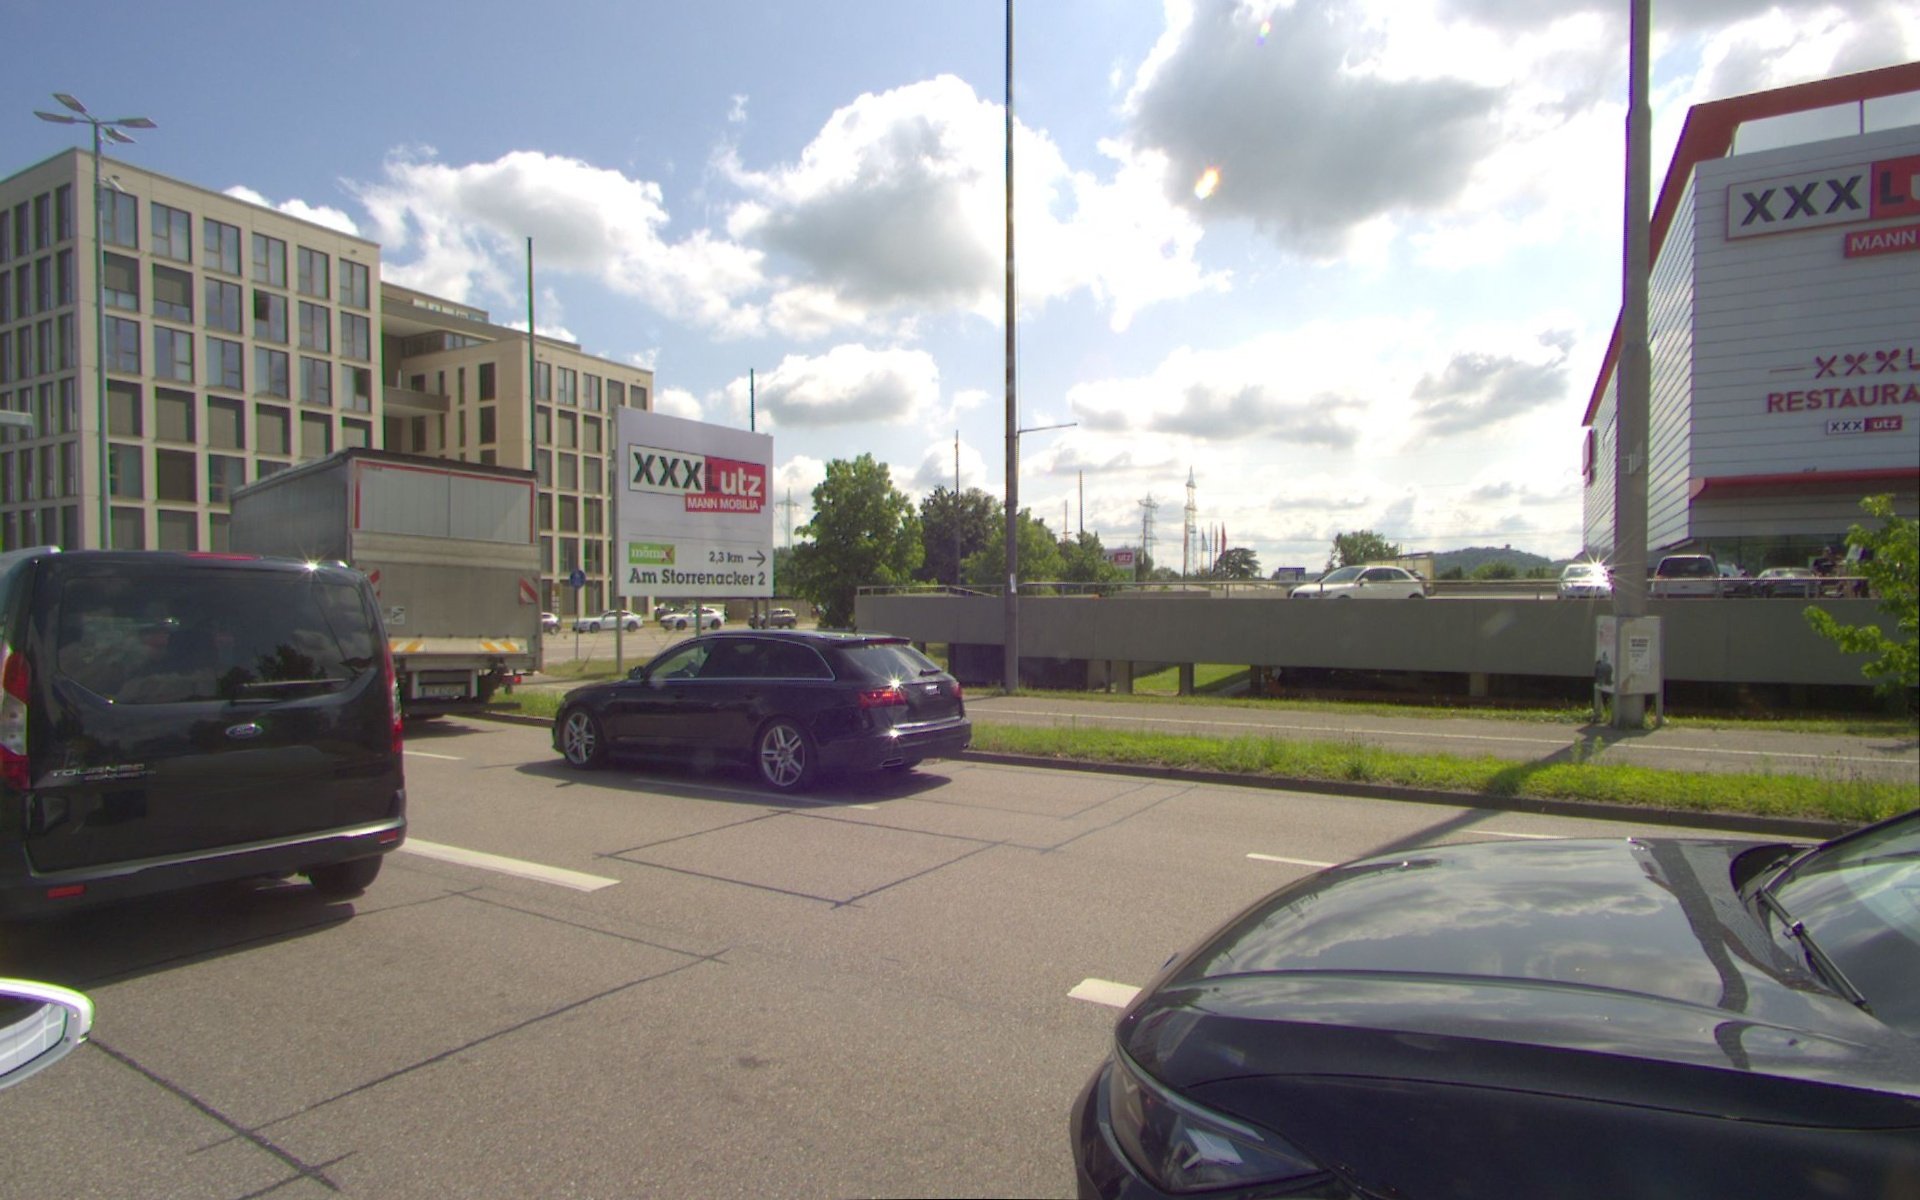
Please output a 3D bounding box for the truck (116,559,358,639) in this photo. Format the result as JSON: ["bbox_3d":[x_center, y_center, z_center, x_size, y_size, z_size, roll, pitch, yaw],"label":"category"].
[{"bbox_3d":[-35.627,0.147,50.009,2.632,3.600,9.755,-1,-2,25],"label":"truck"}]

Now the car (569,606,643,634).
[{"bbox_3d":[-24.288,1.393,68.798,1.802,1.861,4.702,-1,-2,32],"label":"car"}]

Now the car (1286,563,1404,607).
[{"bbox_3d":[15.738,-0.573,40.936,4.352,1.626,1.948,-1,-1,26],"label":"car"}]

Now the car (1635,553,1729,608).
[{"bbox_3d":[23.596,-0.572,32.868,1.925,1.626,4.406,0,-1,28],"label":"car"}]

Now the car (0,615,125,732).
[{"bbox_3d":[-15.413,1.285,16.383,4.171,1.675,1.852,-7,-6,37],"label":"car"}]

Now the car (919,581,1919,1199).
[{"bbox_3d":[2.577,0.732,0.972,5.129,1.497,1.805,-1,-1,32],"label":"car"}]

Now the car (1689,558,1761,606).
[{"bbox_3d":[31.924,-0.700,41.904,1.888,1.772,3.982,-1,-2,31],"label":"car"}]

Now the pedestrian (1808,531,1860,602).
[{"bbox_3d":[26.137,-0.980,29.957,0.694,2.039,0.910,0,-1,-13],"label":"pedestrian"}]

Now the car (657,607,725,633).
[{"bbox_3d":[-19.845,1.539,74.052,1.809,1.861,4.675,-2,-2,43],"label":"car"}]

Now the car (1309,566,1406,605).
[{"bbox_3d":[19.748,-0.704,49.762,4.352,1.808,1.948,-1,-1,26],"label":"car"}]

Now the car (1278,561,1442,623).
[{"bbox_3d":[11.177,-0.164,28.007,4.095,1.606,1.877,1,-2,-21],"label":"car"}]

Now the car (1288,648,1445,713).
[{"bbox_3d":[12.480,2.402,30.748,4.296,1.772,1.992,-1,-1,29],"label":"car"}]

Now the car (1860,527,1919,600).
[{"bbox_3d":[26.313,-0.953,27.529,1.892,1.772,4.163,-1,-2,36],"label":"car"}]

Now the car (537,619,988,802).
[{"bbox_3d":[-2.128,0.946,10.204,4.613,1.497,1.770,-1,-1,33],"label":"car"}]

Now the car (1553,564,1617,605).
[{"bbox_3d":[25.372,-0.567,40.793,1.925,1.490,4.406,0,-1,28],"label":"car"}]

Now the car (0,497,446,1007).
[{"bbox_3d":[-4.829,0.615,5.583,3.944,1.929,1.819,-1,-1,34],"label":"car"}]

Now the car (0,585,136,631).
[{"bbox_3d":[-39.147,0.418,43.386,1.967,1.861,4.978,-1,-2,25],"label":"car"}]

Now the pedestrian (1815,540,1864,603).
[{"bbox_3d":[25.571,-0.820,29.130,0.694,1.765,1.019,-1,-1,18],"label":"pedestrian"}]

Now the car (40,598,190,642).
[{"bbox_3d":[-33.564,0.830,39.905,1.798,1.647,4.200,-1,-2,25],"label":"car"}]

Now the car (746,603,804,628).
[{"bbox_3d":[-14.696,1.256,79.695,1.809,1.861,4.408,-2,-2,43],"label":"car"}]

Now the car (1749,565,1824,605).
[{"bbox_3d":[33.938,-0.568,41.206,1.536,1.490,4.406,0,-1,28],"label":"car"}]

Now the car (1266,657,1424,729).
[{"bbox_3d":[10.819,2.543,28.152,3.938,1.772,1.992,-1,-1,29],"label":"car"}]

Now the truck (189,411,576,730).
[{"bbox_3d":[-10.187,-0.221,17.053,8.973,4.078,3.196,-2,-2,43],"label":"truck"}]

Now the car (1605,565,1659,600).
[{"bbox_3d":[35.110,-0.870,52.402,1.925,1.626,4.406,0,-1,28],"label":"car"}]
